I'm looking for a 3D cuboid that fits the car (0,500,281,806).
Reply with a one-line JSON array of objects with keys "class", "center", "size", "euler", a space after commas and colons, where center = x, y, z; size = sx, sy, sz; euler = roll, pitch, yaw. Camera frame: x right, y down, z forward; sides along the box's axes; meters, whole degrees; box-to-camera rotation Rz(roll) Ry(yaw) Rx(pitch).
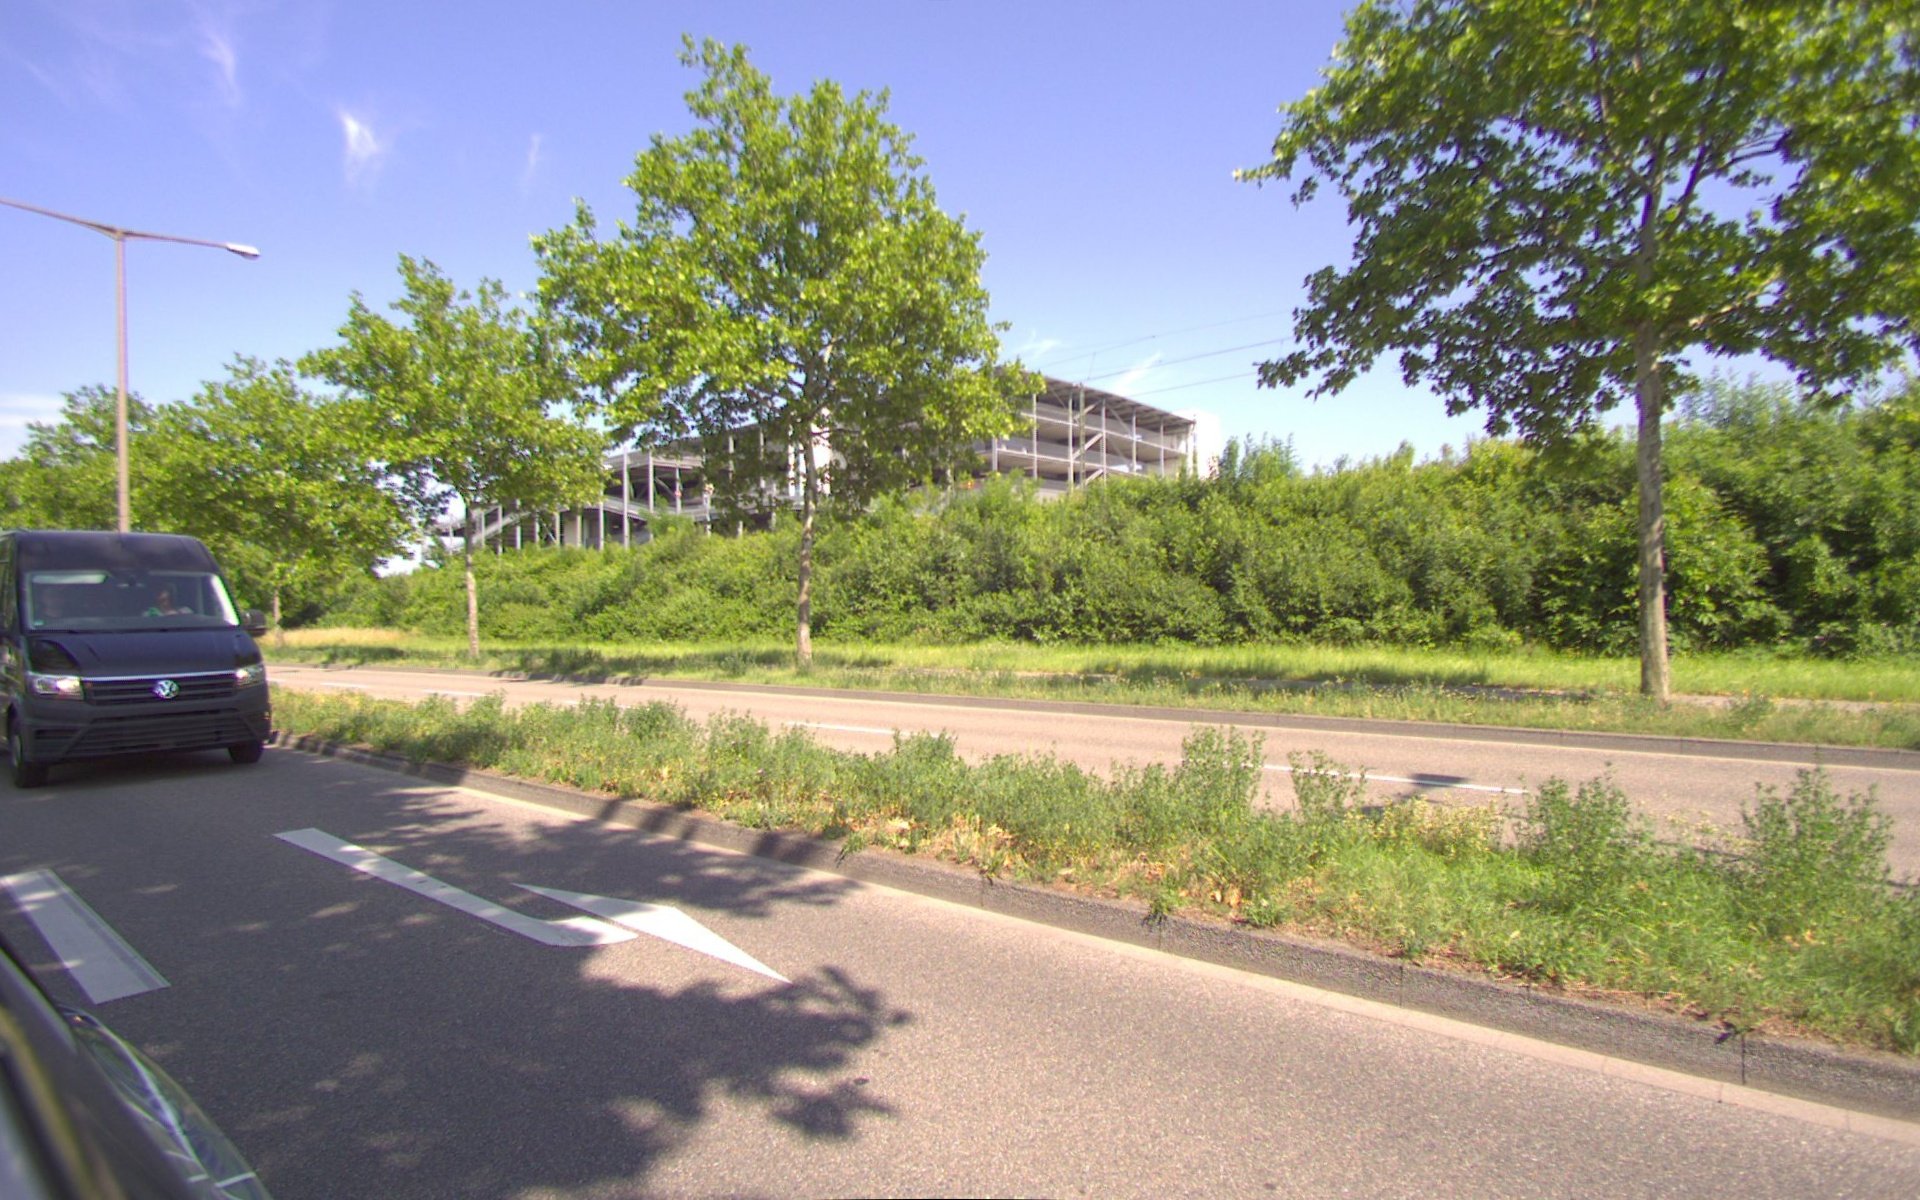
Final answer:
[{"class": "car", "center": [-9.852, 0.497, 11.465], "size": [6.164, 2.627, 1.995], "euler": [-1, 0, 41]}]
